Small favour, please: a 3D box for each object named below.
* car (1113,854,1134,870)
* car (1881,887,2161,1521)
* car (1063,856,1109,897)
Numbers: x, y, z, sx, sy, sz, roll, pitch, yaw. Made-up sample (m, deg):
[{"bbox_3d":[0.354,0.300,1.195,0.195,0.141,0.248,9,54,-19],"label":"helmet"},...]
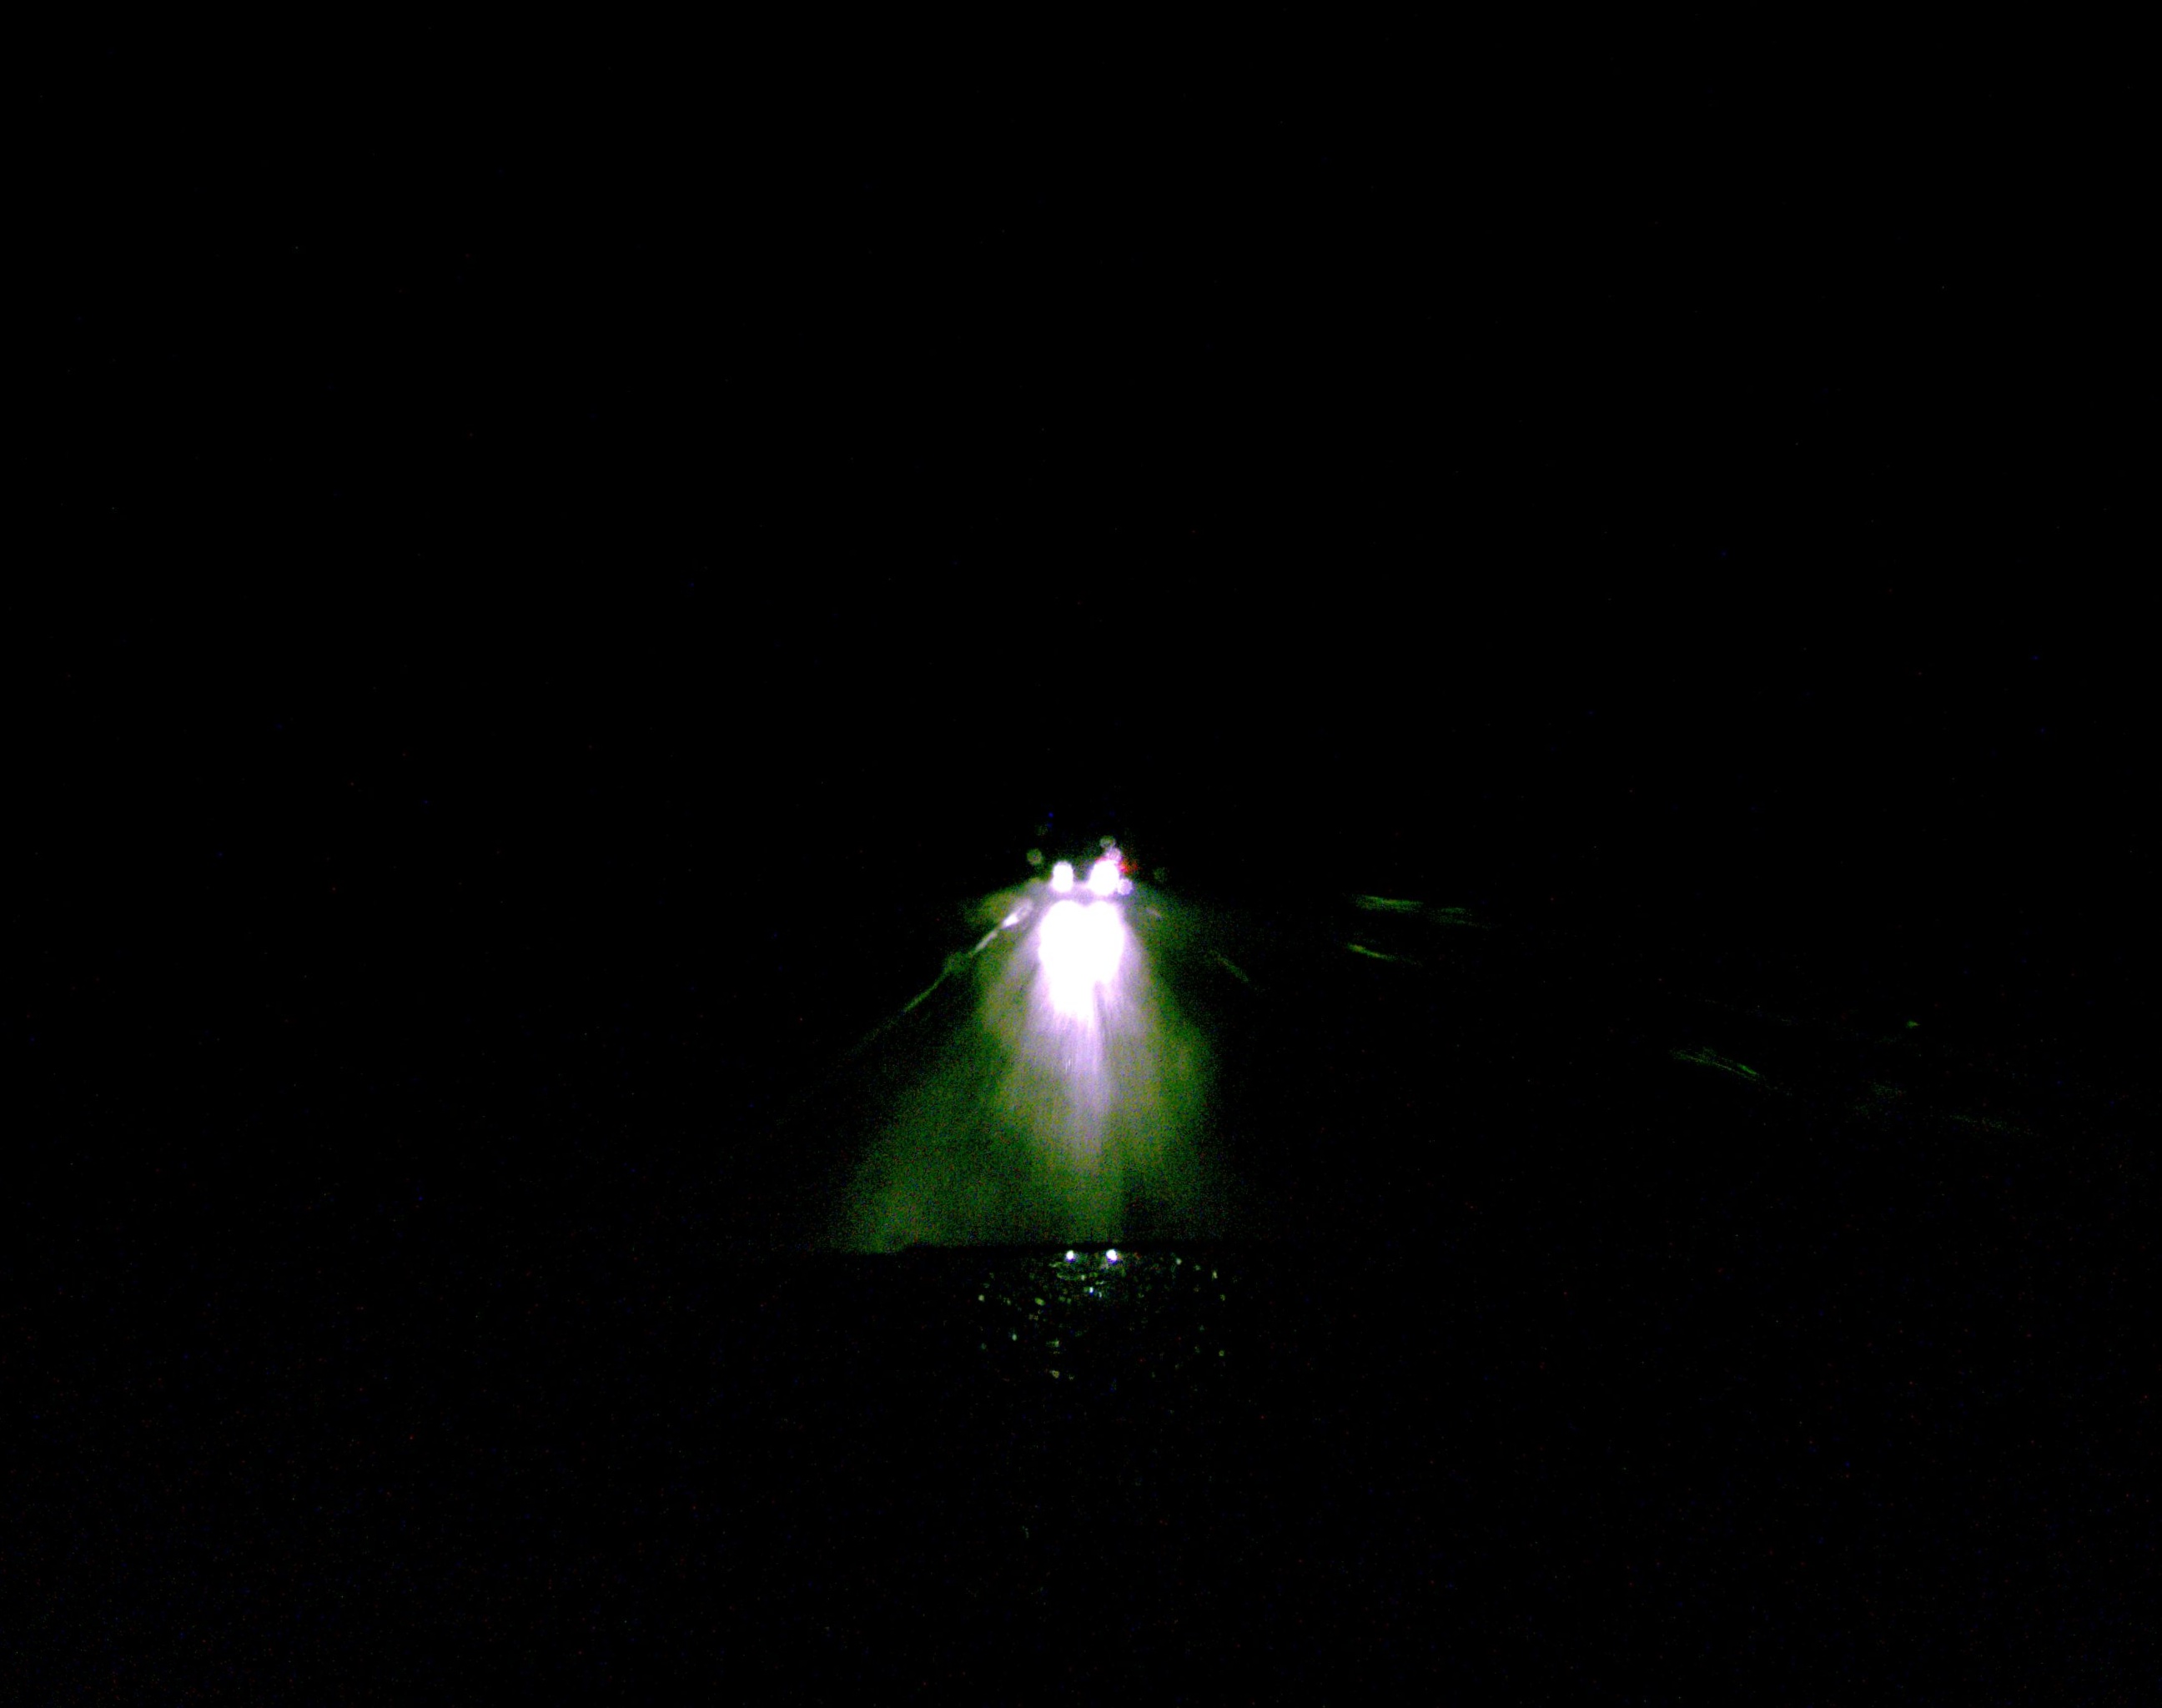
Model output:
[{"bbox_3d":[4.259,0.770,76.702,1.769,1.510,4.490,1,0,0],"label":"car"},{"bbox_3d":[3.576,0.892,0.618,1.799,1.529,3.800,1,0,0],"label":"car"},{"bbox_3d":[0.185,0.909,31.670,1.793,1.593,4.000,0,0,0],"label":"car"}]
